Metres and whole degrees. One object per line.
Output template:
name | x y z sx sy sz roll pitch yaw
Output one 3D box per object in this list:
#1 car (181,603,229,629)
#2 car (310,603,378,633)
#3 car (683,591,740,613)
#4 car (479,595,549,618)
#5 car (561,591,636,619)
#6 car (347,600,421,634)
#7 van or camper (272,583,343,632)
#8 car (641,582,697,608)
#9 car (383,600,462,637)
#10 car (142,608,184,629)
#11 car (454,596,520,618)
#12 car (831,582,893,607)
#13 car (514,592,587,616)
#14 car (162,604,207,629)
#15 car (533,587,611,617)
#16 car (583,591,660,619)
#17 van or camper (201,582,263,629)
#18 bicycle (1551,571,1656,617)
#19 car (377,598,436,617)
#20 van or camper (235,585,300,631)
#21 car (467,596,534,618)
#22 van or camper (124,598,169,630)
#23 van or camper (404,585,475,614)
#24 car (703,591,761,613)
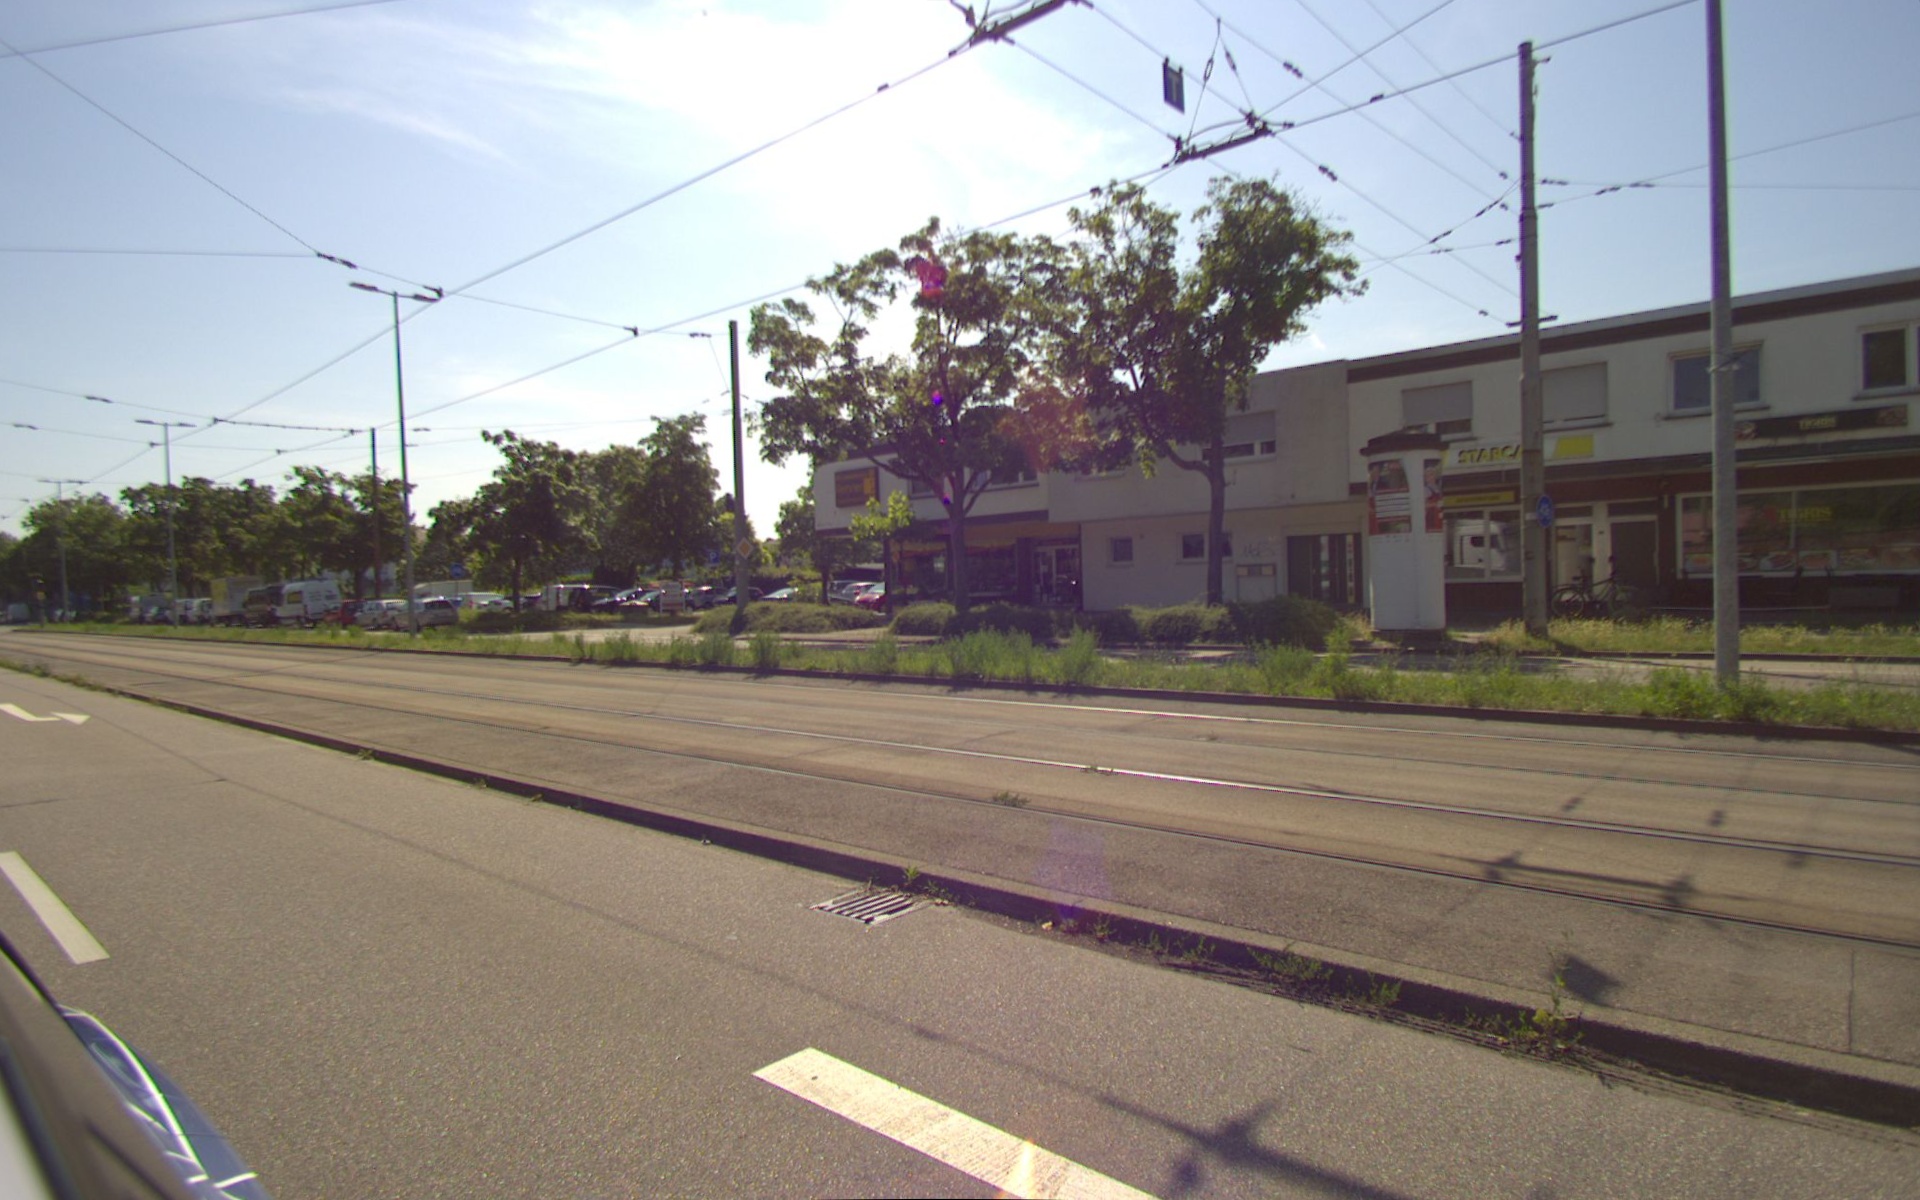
car | -54.659 1.172 73.219 4.229 1.747 1.869 -1 1 41
car | -33.198 0.972 54.511 4.229 1.506 1.869 -1 1 41
car | -17.481 0.126 71.228 1.710 1.372 3.580 -1 1 39
car | -28.077 0.408 63.798 1.811 1.291 3.580 -1 1 39
car | -20.182 0.269 56.575 1.710 1.372 3.580 -1 1 39
car | -29.014 0.850 50.900 4.282 1.572 1.869 -1 1 41
van or camper | -37.112 0.420 57.525 4.836 2.652 2.014 -1 1 41
car | -21.363 -0.376 74.419 1.710 1.791 3.580 -1 1 39
car | -25.199 0.840 47.380 4.285 1.506 1.868 -1 4 43
car | -64.368 1.495 81.711 4.229 1.572 1.869 -1 1 41
car | -31.559 0.452 67.624 1.710 1.291 3.580 -1 1 39
car | -5.895 -0.365 61.373 1.710 1.372 3.580 -1 1 39
car | -24.023 0.222 59.454 1.710 1.294 3.580 -1 1 39
car | -59.747 1.266 77.939 4.229 1.781 1.869 -1 1 41
car | -22.213 0.113 57.999 1.949 1.581 3.703 -1 1 39
car | -18.230 0.245 54.636 1.710 1.372 3.580 -1 1 39
van or camper | -48.437 0.387 67.275 5.278 3.007 2.101 -1 1 41
bicycle | 14.641 -0.136 23.050 1.910 0.990 0.750 -1 1 41
car | -42.135 0.586 77.107 1.710 1.291 3.580 -1 1 39
van or camper | -42.498 0.488 62.076 4.836 2.652 2.014 -1 1 41
car | -29.943 0.432 65.944 1.710 1.291 3.580 -1 1 39
van or camper | -69.507 1.154 86.483 5.450 2.639 2.087 -1 0 41
van or camper | -53.081 -0.103 103.266 2.299 2.751 6.002 -1 1 43
car | -15.640 0.157 69.391 1.710 1.372 3.580 -1 1 39
